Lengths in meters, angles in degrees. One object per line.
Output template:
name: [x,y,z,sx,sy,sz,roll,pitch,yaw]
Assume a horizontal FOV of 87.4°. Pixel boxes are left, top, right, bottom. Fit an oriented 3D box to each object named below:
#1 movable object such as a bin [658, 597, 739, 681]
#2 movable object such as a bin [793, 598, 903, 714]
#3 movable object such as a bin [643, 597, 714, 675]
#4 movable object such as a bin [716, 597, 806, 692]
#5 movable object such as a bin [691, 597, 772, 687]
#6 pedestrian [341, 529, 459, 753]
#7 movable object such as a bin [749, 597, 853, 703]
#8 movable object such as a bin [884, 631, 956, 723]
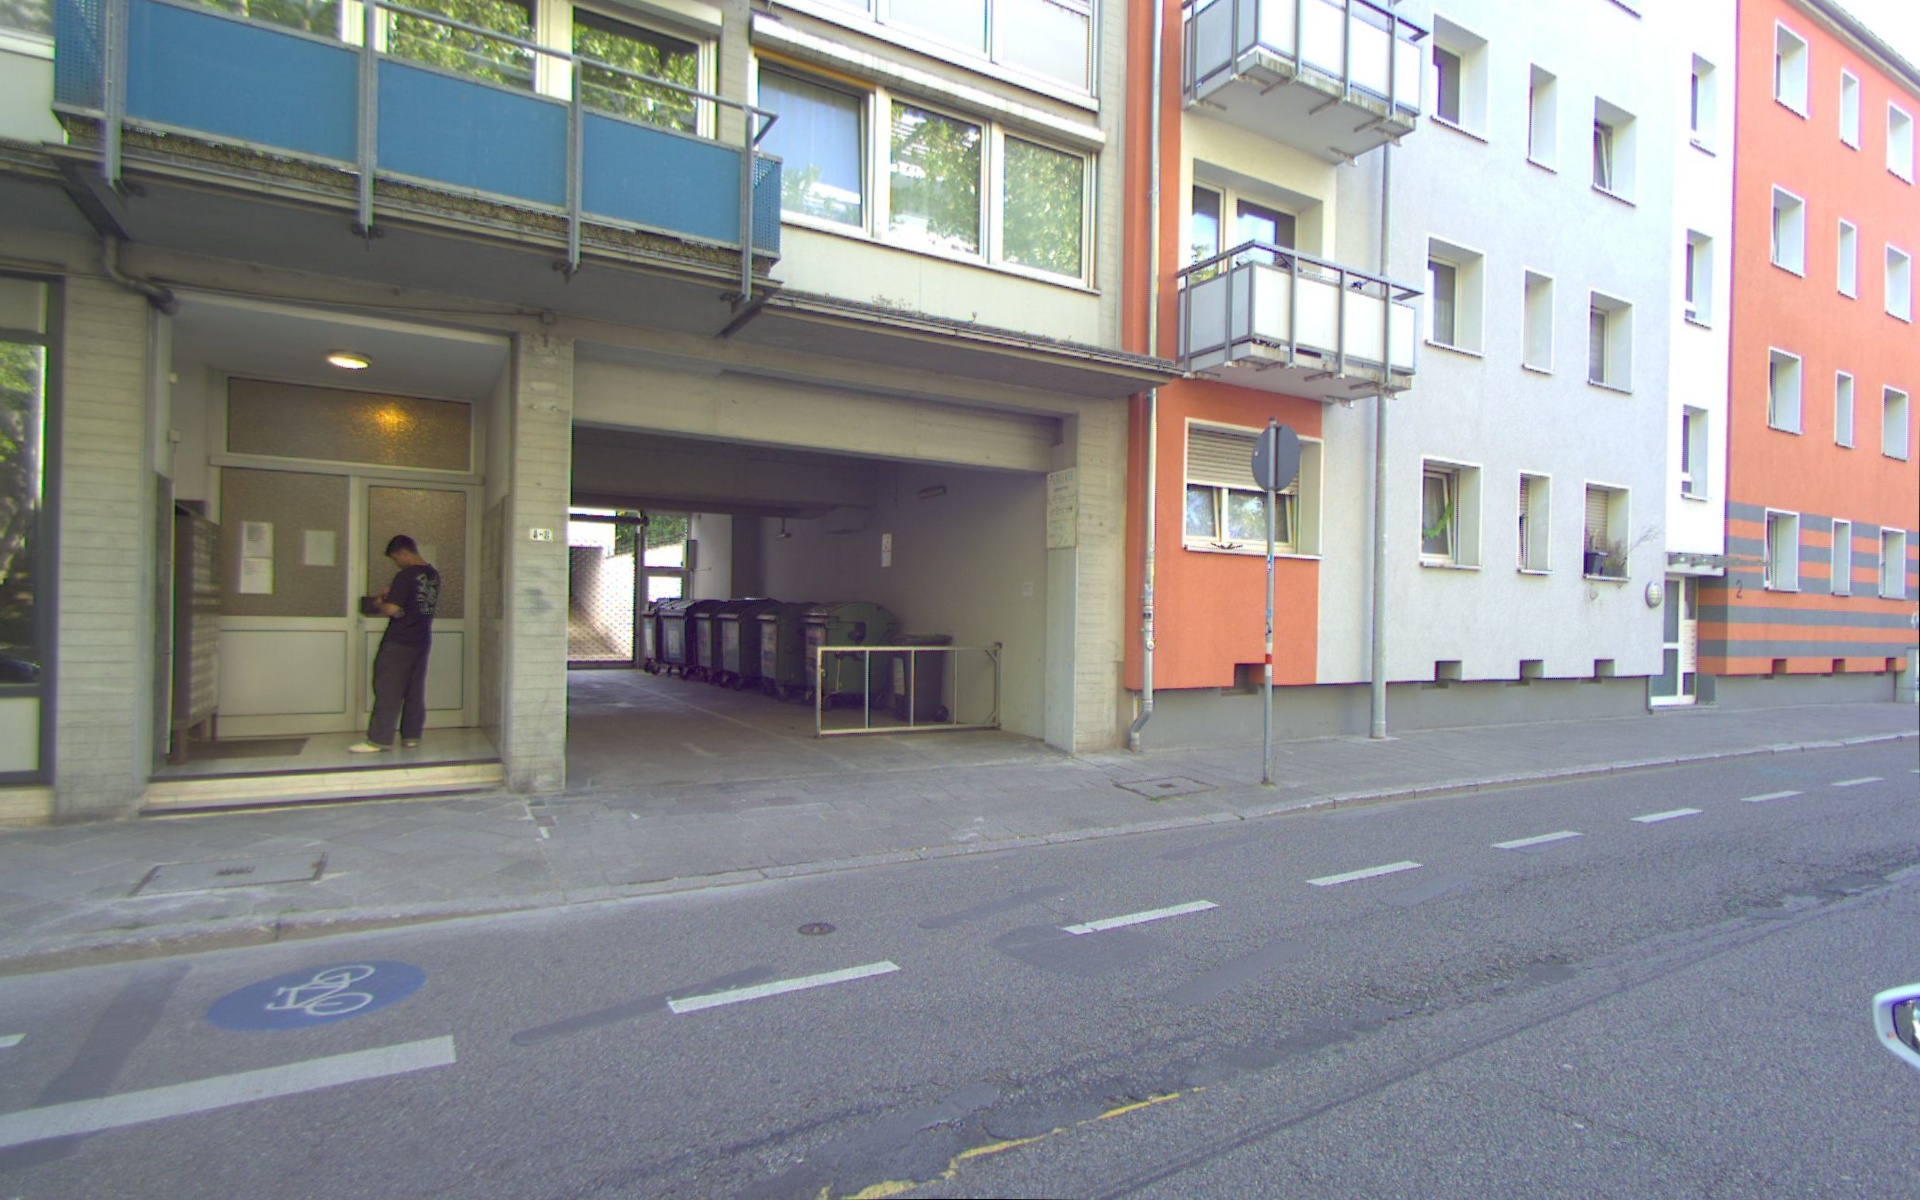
movable object such as a bin: [-4.880,0.706,18.692,1.167,1.503,1.215,1,0,-30]
movable object such as a bin: [-1.549,0.738,13.790,1.086,1.503,1.251,1,0,-30]
movable object such as a bin: [-5.571,0.704,19.891,1.167,1.503,0.819,1,0,-30]
movable object such as a bin: [-3.300,0.721,16.639,1.167,1.503,1.073,1,0,-30]
movable object such as a bin: [-4.026,0.718,17.641,1.080,1.503,1.159,1,0,-30]
pedestrian: [-4.521,0.320,8.148,0.537,1.736,0.662,1,0,3]
movable object such as a bin: [-2.415,0.728,15.169,1.167,1.503,1.252,1,0,-30]
movable object such as a bin: [-0.495,0.939,12.459,0.687,1.094,0.579,1,0,-30]
